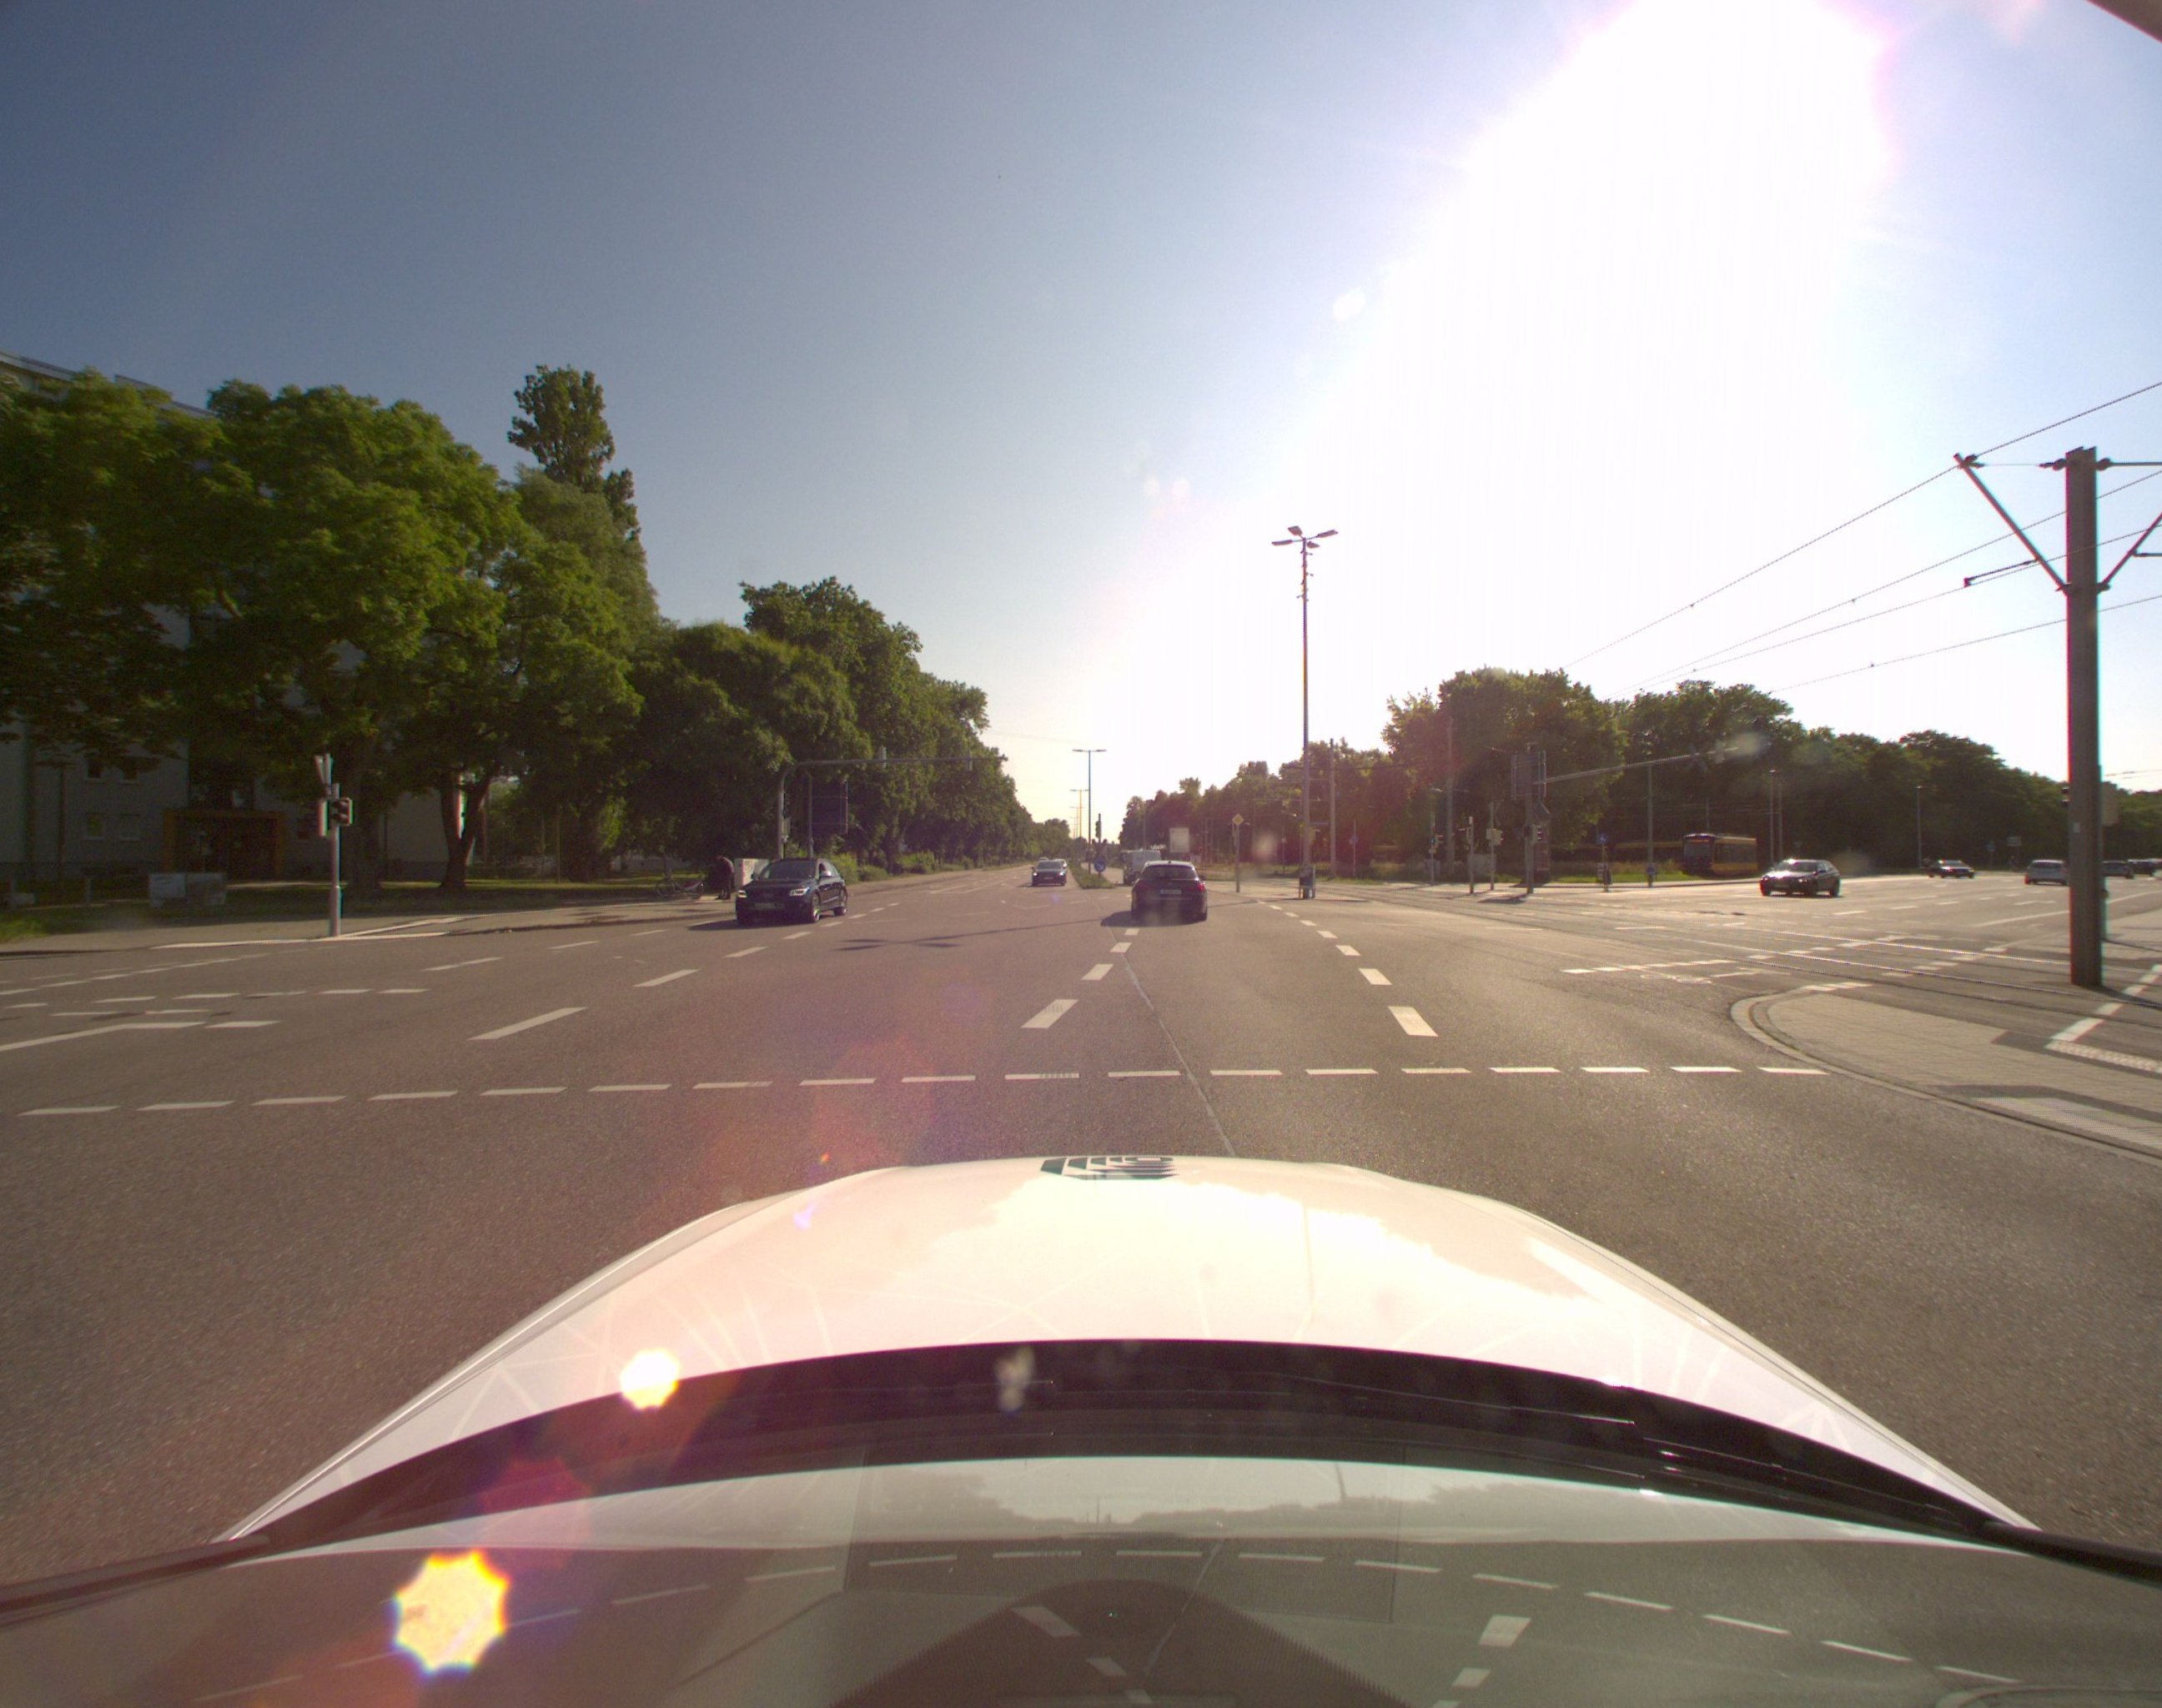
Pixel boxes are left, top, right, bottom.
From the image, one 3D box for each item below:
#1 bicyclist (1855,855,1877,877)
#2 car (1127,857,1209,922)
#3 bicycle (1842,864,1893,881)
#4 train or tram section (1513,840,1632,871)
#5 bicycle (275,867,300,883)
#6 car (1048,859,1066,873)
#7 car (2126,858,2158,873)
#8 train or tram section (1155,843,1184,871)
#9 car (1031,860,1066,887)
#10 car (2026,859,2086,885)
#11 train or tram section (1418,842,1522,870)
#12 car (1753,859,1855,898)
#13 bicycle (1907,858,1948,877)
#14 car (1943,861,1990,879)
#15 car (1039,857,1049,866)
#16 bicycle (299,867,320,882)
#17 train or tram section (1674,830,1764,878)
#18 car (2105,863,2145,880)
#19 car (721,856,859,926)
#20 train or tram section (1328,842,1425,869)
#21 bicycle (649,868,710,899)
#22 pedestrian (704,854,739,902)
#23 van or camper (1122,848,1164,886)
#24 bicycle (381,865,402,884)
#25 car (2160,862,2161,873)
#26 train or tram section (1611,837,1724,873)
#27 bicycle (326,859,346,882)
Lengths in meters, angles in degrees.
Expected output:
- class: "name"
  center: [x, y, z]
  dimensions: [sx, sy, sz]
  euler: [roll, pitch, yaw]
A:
- class: "bicyclist"
  center: [72.294, 1.099, 75.019]
  dimensions: [1.142, 2.014, 1.090]
  euler: [1, -1, -25]
- class: "car"
  center: [2.180, 0.846, 21.057]
  dimensions: [1.895, 1.506, 4.069]
  euler: [0, 0, 4]
- class: "bicycle"
  center: [72.318, 1.684, 74.957]
  dimensions: [1.132, 1.454, 3.203]
  euler: [1, -1, -25]
- class: "train or tram section"
  center: [59.187, 0.208, 98.469]
  dimensions: [3.067, 3.579, 12.096]
  euler: [0, -1, -36]
- class: "bicycle"
  center: [-38.388, 1.025, 39.434]
  dimensions: [0.587, 0.708, 2.213]
  euler: [1, 0, -37]
- class: "car"
  center: [-2.578, 1.286, 89.041]
  dimensions: [1.842, 1.477, 4.645]
  euler: [0, 0, 0]
- class: "car"
  center: [102.703, 1.114, 78.836]
  dimensions: [3.542, 1.383, 1.590]
  euler: [0, 0, -32]
- class: "train or tram section"
  center: [11.998, 0.512, 111.031]
  dimensions: [2.786, 3.618, 12.958]
  euler: [1, -1, 1]
- class: "car"
  center: [-1.772, 1.059, 45.761]
  dimensions: [1.824, 1.431, 4.729]
  euler: [-1, 0, -1]
- class: "car"
  center: [63.352, 1.139, 52.921]
  dimensions: [4.217, 1.563, 1.838]
  euler: [0, 0, -31]
- class: "train or tram section"
  center: [51.137, 0.244, 107.243]
  dimensions: [12.072, 3.579, 3.073]
  euler: [0, -1, 33]
- class: "car"
  center: [32.431, 1.044, 36.516]
  dimensions: [4.877, 1.562, 2.025]
  euler: [-1, 0, -31]
- class: "bicycle"
  center: [79.393, 1.274, 76.373]
  dimensions: [0.799, 1.713, 2.583]
  euler: [1, 0, -38]
- class: "car"
  center: [71.054, 1.267, 65.338]
  dimensions: [4.320, 1.335, 1.732]
  euler: [0, 0, -31]
- class: "car"
  center: [-7.411, 1.406, 161.780]
  dimensions: [1.783, 1.772, 4.567]
  euler: [0, 0, -1]
- class: "bicycle"
  center: [-37.726, 1.003, 39.821]
  dimensions: [0.509, 0.708, 2.092]
  euler: [1, 0, -37]
- class: "train or tram section"
  center: [51.805, 0.004, 65.942]
  dimensions: [11.908, 3.579, 3.019]
  euler: [0, -1, -38]
- class: "car"
  center: [85.733, 1.421, 66.880]
  dimensions: [3.541, 1.383, 1.591]
  euler: [0, 0, -31]
- class: "car"
  center: [-7.513, 0.884, 21.550]
  dimensions: [1.982, 1.659, 4.386]
  euler: [0, 0, 2]
- class: "train or tram section"
  center: [41.009, 0.249, 113.356]
  dimensions: [12.282, 3.579, 3.072]
  euler: [0, -1, 28]
- class: "bicycle"
  center: [-14.892, 1.073, 30.221]
  dimensions: [1.904, 1.119, 0.631]
  euler: [0, -1, -3]
- class: "pedestrian"
  center: [-13.250, 0.867, 30.042]
  dimensions: [0.812, 1.752, 0.932]
  euler: [0, 0, 3]
- class: "van or camper"
  center: [3.542, 0.746, 47.361]
  dimensions: [1.988, 2.096, 4.596]
  euler: [0, 0, -1]
- class: "bicycle"
  center: [-35.266, 1.043, 41.674]
  dimensions: [0.673, 0.919, 2.380]
  euler: [0, 0, -37]
- class: "car"
  center: [142.385, 1.786, 106.452]
  dimensions: [3.545, 1.384, 1.589]
  euler: [0, -1, -36]
- class: "train or tram section"
  center: [62.395, 0.097, 87.196]
  dimensions: [3.035, 3.579, 12.223]
  euler: [0, 0, -1]
- class: "bicycle"
  center: [-36.817, 0.825, 40.255]
  dimensions: [0.616, 1.066, 1.895]
  euler: [2, -3, -39]
